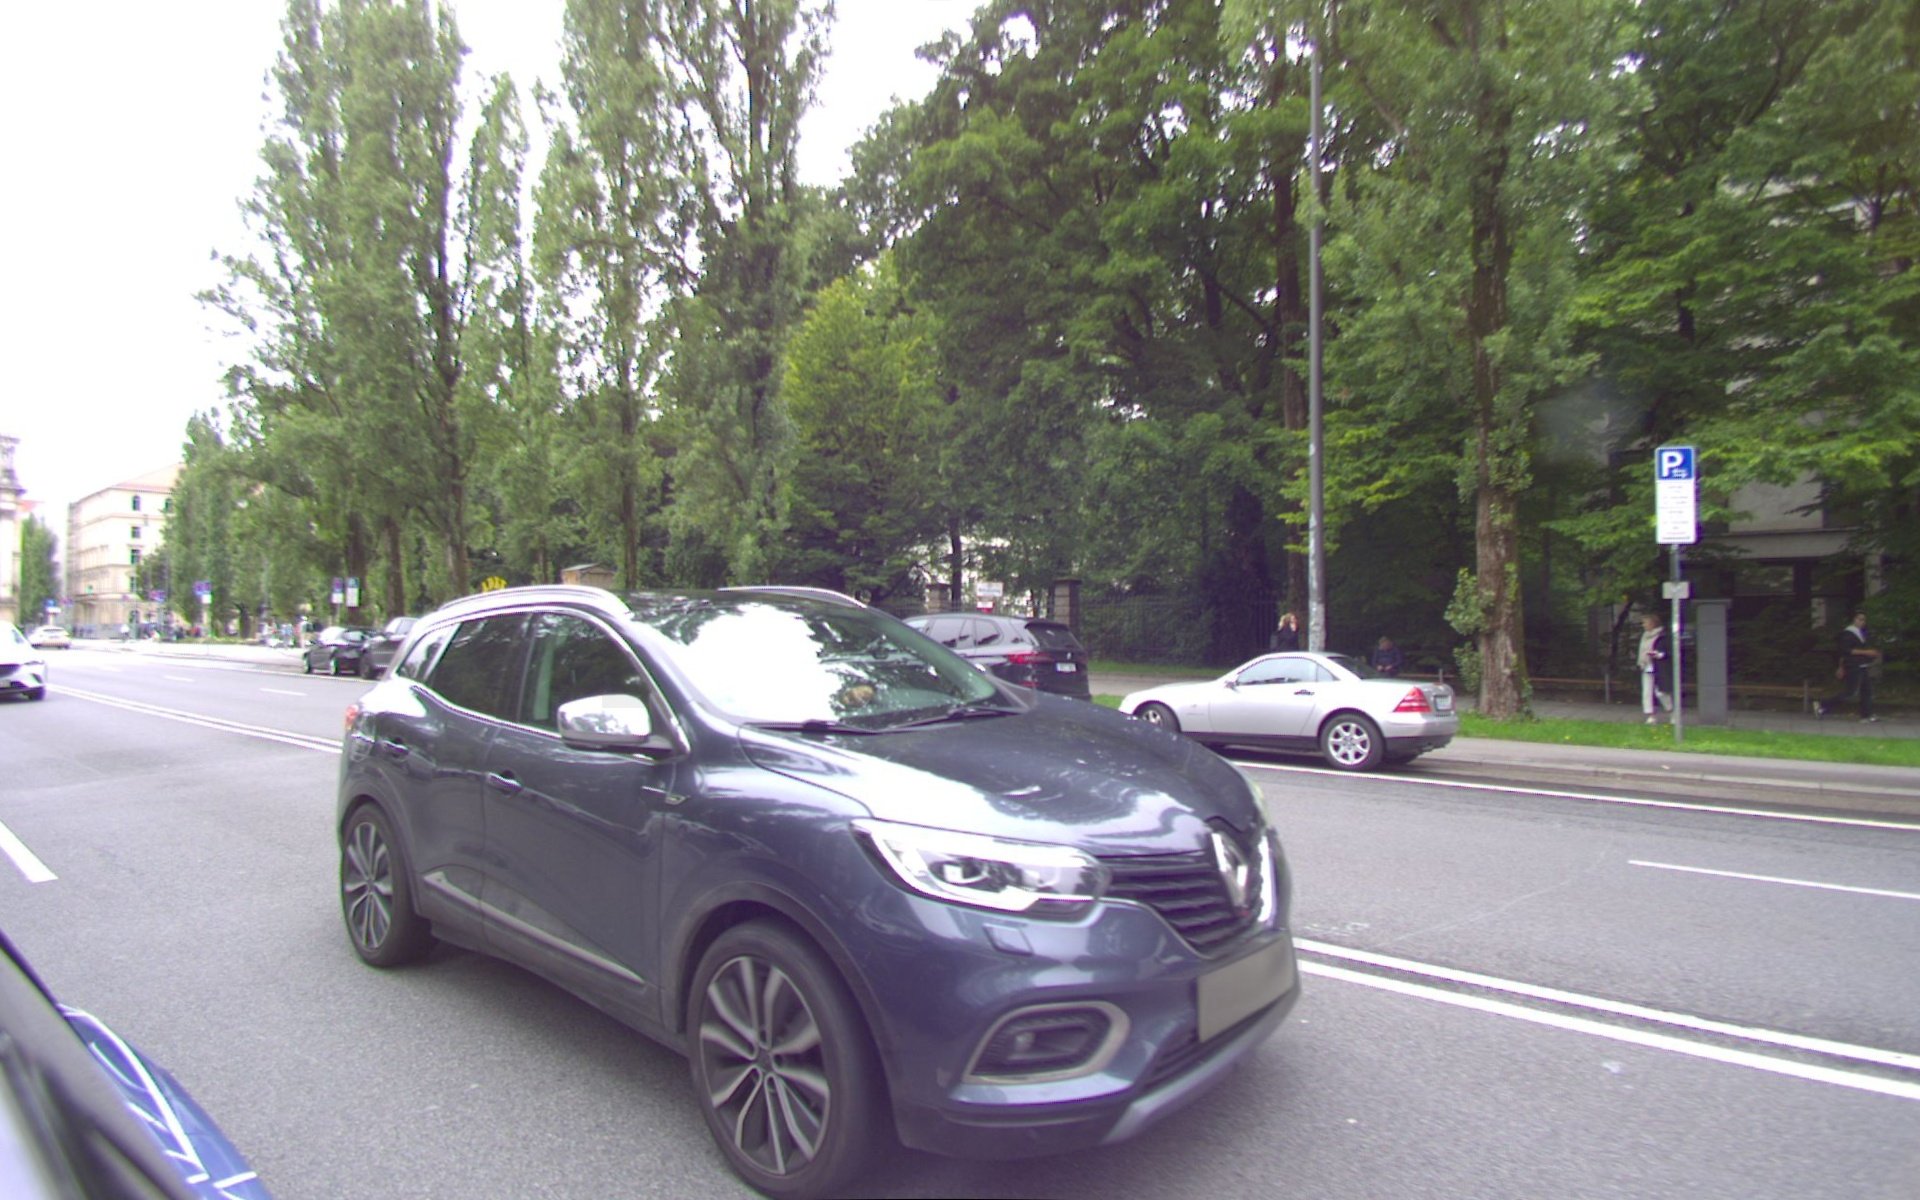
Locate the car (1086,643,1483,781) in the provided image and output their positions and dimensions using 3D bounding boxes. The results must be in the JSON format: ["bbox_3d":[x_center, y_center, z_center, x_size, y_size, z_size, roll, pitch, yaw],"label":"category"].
[{"bbox_3d":[3.798,1.235,12.256,4.230,1.344,1.808,-1,-4,40],"label":"car"}]

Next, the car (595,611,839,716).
[{"bbox_3d":[-4.843,1.191,19.694,5.176,1.803,1.890,-1,-5,40],"label":"car"}]

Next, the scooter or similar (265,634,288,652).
[{"bbox_3d":[-44.115,2.776,65.342,1.413,1.187,0.738,-2,-3,36],"label":"scooter or similar"}]

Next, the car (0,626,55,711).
[{"bbox_3d":[-19.002,1.278,19.501,4.007,1.537,1.885,-2,-2,42],"label":"car"}]

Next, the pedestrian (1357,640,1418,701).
[{"bbox_3d":[8.924,1.455,21.117,0.922,1.187,0.957,-1,0,40],"label":"pedestrian"}]

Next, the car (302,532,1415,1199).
[{"bbox_3d":[-0.737,0.709,3.872,4.181,1.598,1.817,-1,-1,39],"label":"car"}]

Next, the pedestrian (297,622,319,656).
[{"bbox_3d":[-36.062,2.160,56.001,1.092,1.847,0.702,-2,-2,40],"label":"pedestrian"}]

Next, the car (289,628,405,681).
[{"bbox_3d":[-19.855,1.741,32.703,4.386,1.596,1.924,-2,-4,41],"label":"car"}]

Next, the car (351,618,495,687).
[{"bbox_3d":[-15.184,1.455,28.504,4.799,1.800,2.024,-2,-4,42],"label":"car"}]

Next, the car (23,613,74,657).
[{"bbox_3d":[-59.390,2.267,65.905,4.475,1.343,1.774,25,14,37],"label":"car"}]

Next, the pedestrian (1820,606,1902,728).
[{"bbox_3d":[13.740,0.987,15.451,0.889,1.785,0.729,-1,-1,41],"label":"pedestrian"}]

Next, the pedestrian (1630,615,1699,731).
[{"bbox_3d":[10.584,1.071,15.209,0.751,1.677,0.730,-2,-2,41],"label":"pedestrian"}]

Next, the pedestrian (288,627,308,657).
[{"bbox_3d":[-37.638,2.375,57.536,0.910,1.729,0.653,-2,-2,40],"label":"pedestrian"}]

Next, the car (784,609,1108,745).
[{"bbox_3d":[-0.337,1.111,15.612,4.890,1.781,1.921,-1,-4,39],"label":"car"}]

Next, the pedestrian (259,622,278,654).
[{"bbox_3d":[-38.606,2.098,56.511,0.907,1.760,0.623,-2,-2,40],"label":"pedestrian"}]

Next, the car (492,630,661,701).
[{"bbox_3d":[-8.733,1.433,22.916,4.269,1.470,1.687,-1,-4,40],"label":"car"}]

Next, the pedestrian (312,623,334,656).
[{"bbox_3d":[-35.612,2.209,56.554,1.092,1.786,0.702,-2,-2,40],"label":"pedestrian"}]

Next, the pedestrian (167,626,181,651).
[{"bbox_3d":[-53.657,2.631,69.086,0.581,1.744,0.527,-1,-2,29],"label":"pedestrian"}]

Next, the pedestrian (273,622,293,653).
[{"bbox_3d":[-38.089,2.107,56.944,0.885,1.713,0.681,-2,-2,40],"label":"pedestrian"}]

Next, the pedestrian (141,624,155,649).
[{"bbox_3d":[-57.647,2.582,71.852,0.581,1.744,0.527,-1,-2,29],"label":"pedestrian"}]

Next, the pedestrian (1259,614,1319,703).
[{"bbox_3d":[6.687,1.177,20.567,0.956,1.755,0.659,-2,-2,41],"label":"pedestrian"}]
